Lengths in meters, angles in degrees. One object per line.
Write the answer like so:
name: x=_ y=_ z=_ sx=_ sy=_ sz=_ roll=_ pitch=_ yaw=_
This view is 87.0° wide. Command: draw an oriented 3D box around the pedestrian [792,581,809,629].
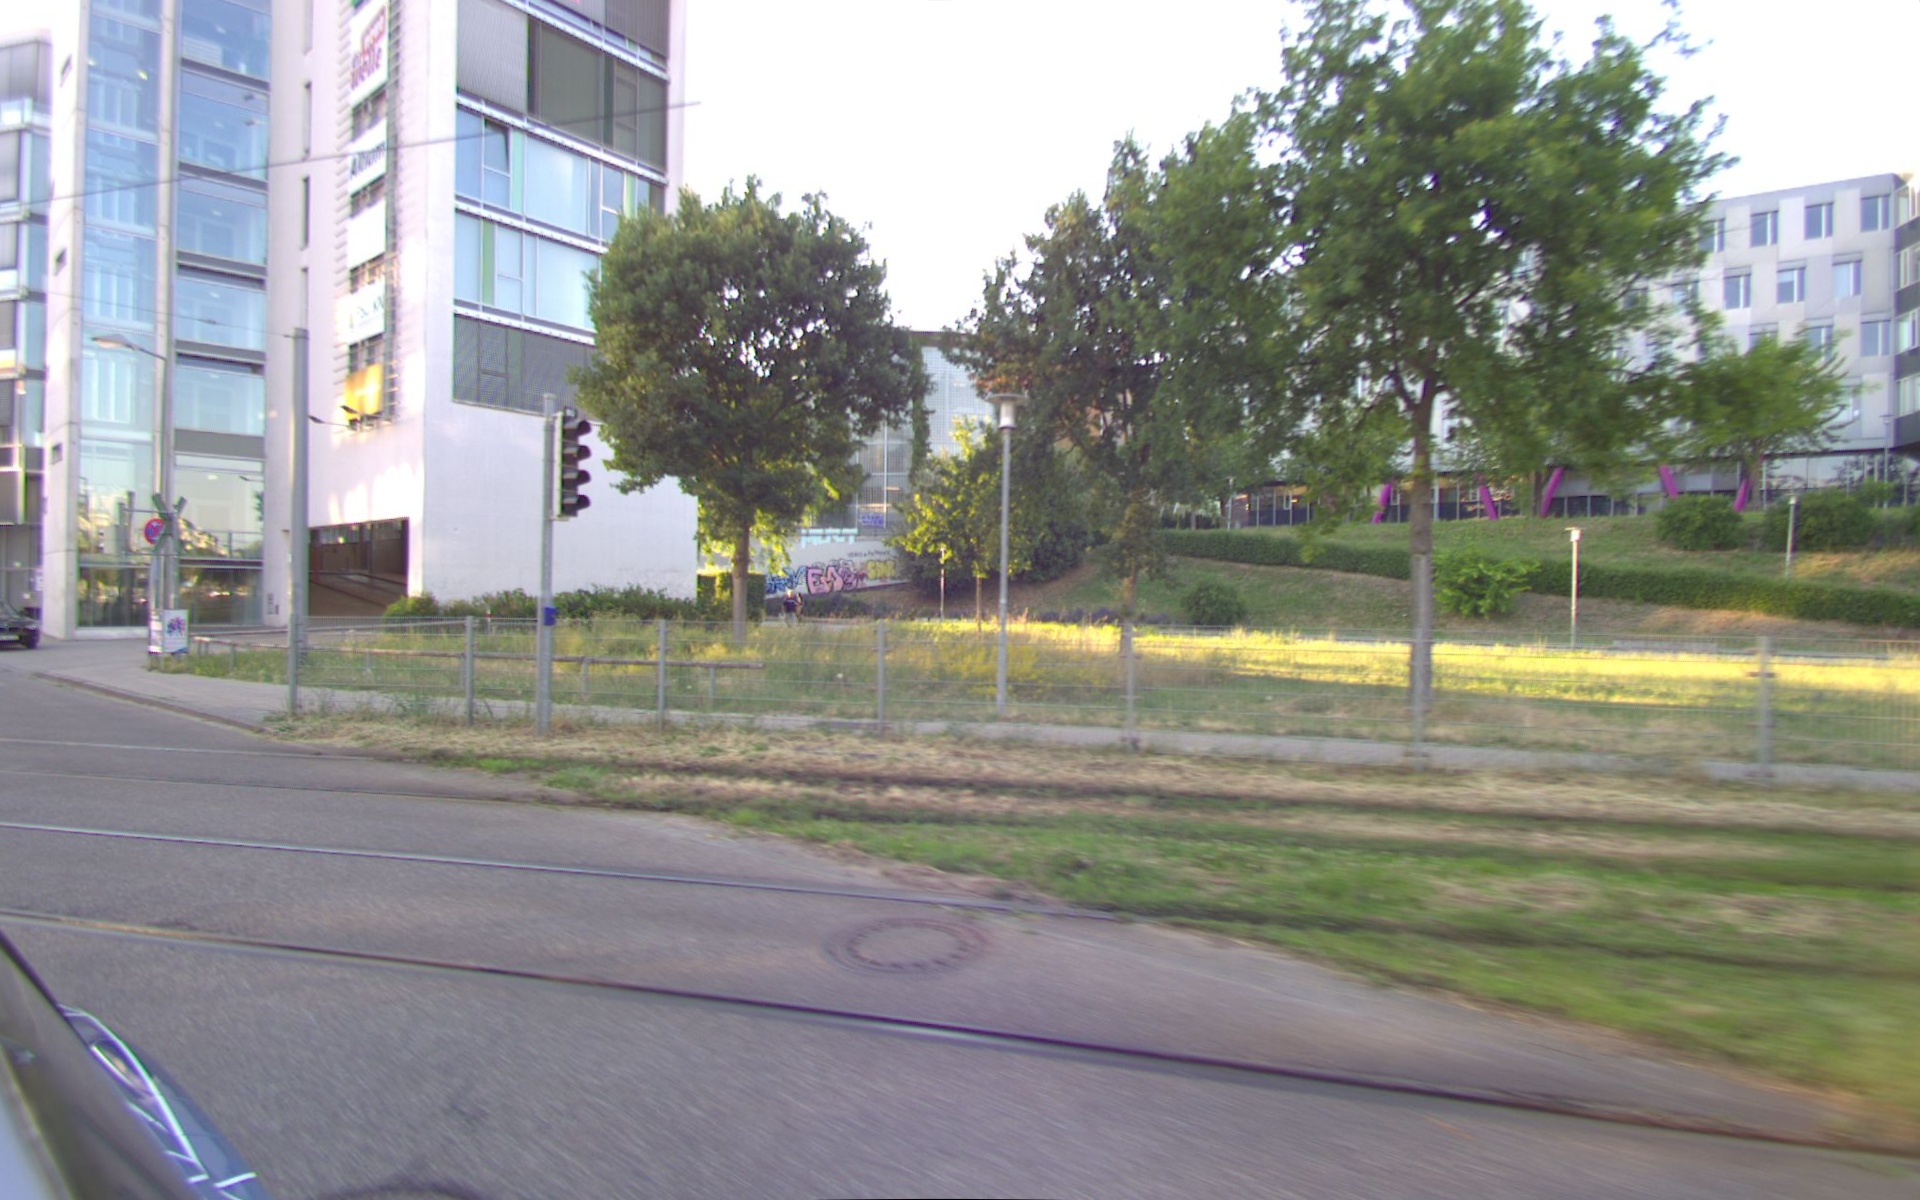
pedestrian: x=-6.188 y=0.185 z=39.272 sx=0.480 sy=1.850 sz=0.435 roll=0 pitch=1 yaw=19

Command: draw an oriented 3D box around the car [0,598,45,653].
car: x=-27.757 y=0.708 z=28.430 sx=4.212 sy=1.453 sz=1.840 roll=0 pitch=1 yaw=30

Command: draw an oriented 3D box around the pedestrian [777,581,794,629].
pedestrian: x=-6.746 y=0.205 z=39.175 sx=0.480 sy=1.850 sz=0.447 roll=0 pitch=1 yaw=19
